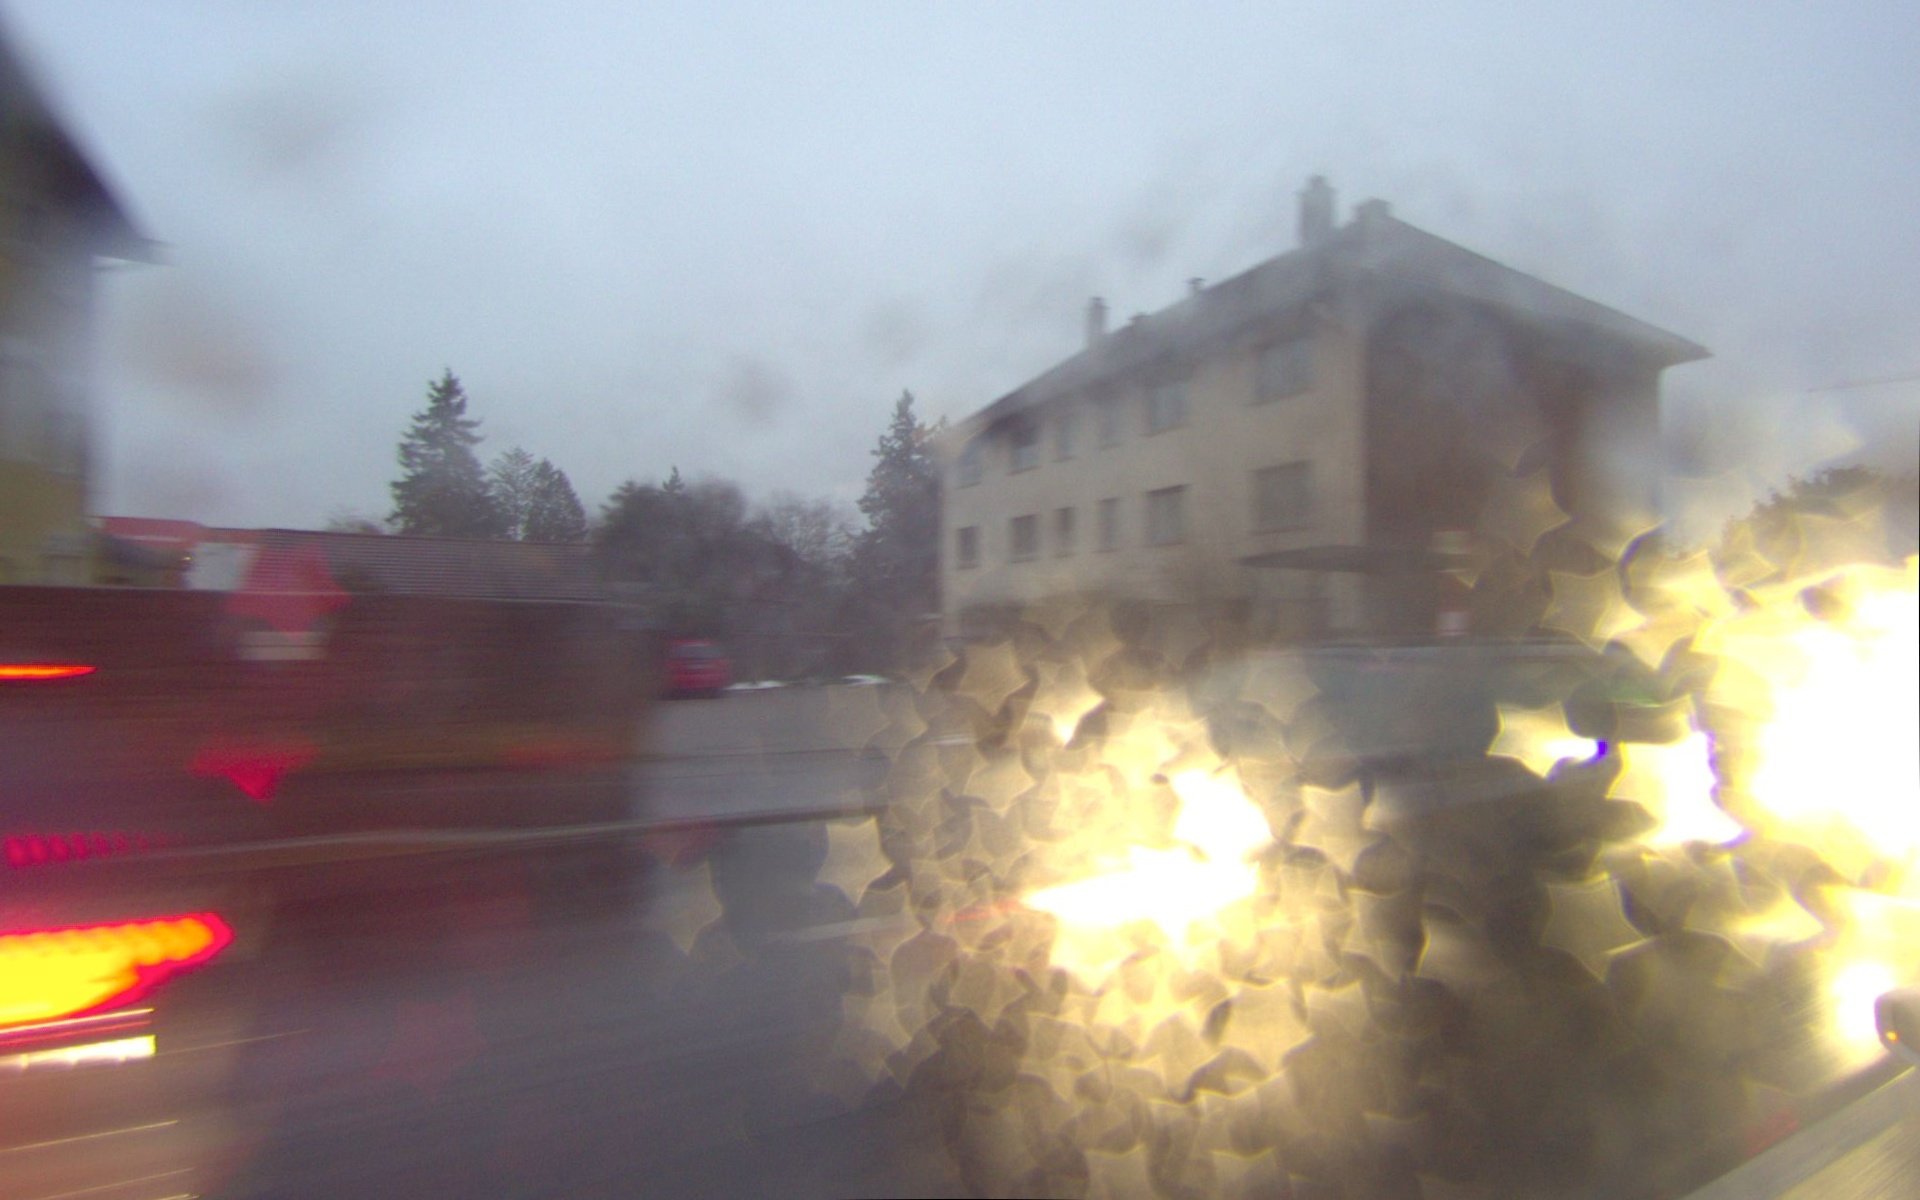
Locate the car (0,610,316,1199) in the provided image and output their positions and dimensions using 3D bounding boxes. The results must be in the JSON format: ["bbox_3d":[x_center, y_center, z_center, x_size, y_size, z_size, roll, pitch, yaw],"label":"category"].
[{"bbox_3d":[-3.456,0.712,1.098,4.468,1.412,1.872,1,-2,-29],"label":"car"}]

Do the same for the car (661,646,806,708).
[{"bbox_3d":[-5.894,1.959,26.125,3.487,1.449,1.523,0,-2,-23],"label":"car"}]

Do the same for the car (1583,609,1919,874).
[{"bbox_3d":[7.061,0.922,8.029,4.243,1.606,1.866,1,-2,-32],"label":"car"}]

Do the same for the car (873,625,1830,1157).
[{"bbox_3d":[1.904,0.834,4.529,4.236,1.391,1.816,1,-2,-31],"label":"car"}]
